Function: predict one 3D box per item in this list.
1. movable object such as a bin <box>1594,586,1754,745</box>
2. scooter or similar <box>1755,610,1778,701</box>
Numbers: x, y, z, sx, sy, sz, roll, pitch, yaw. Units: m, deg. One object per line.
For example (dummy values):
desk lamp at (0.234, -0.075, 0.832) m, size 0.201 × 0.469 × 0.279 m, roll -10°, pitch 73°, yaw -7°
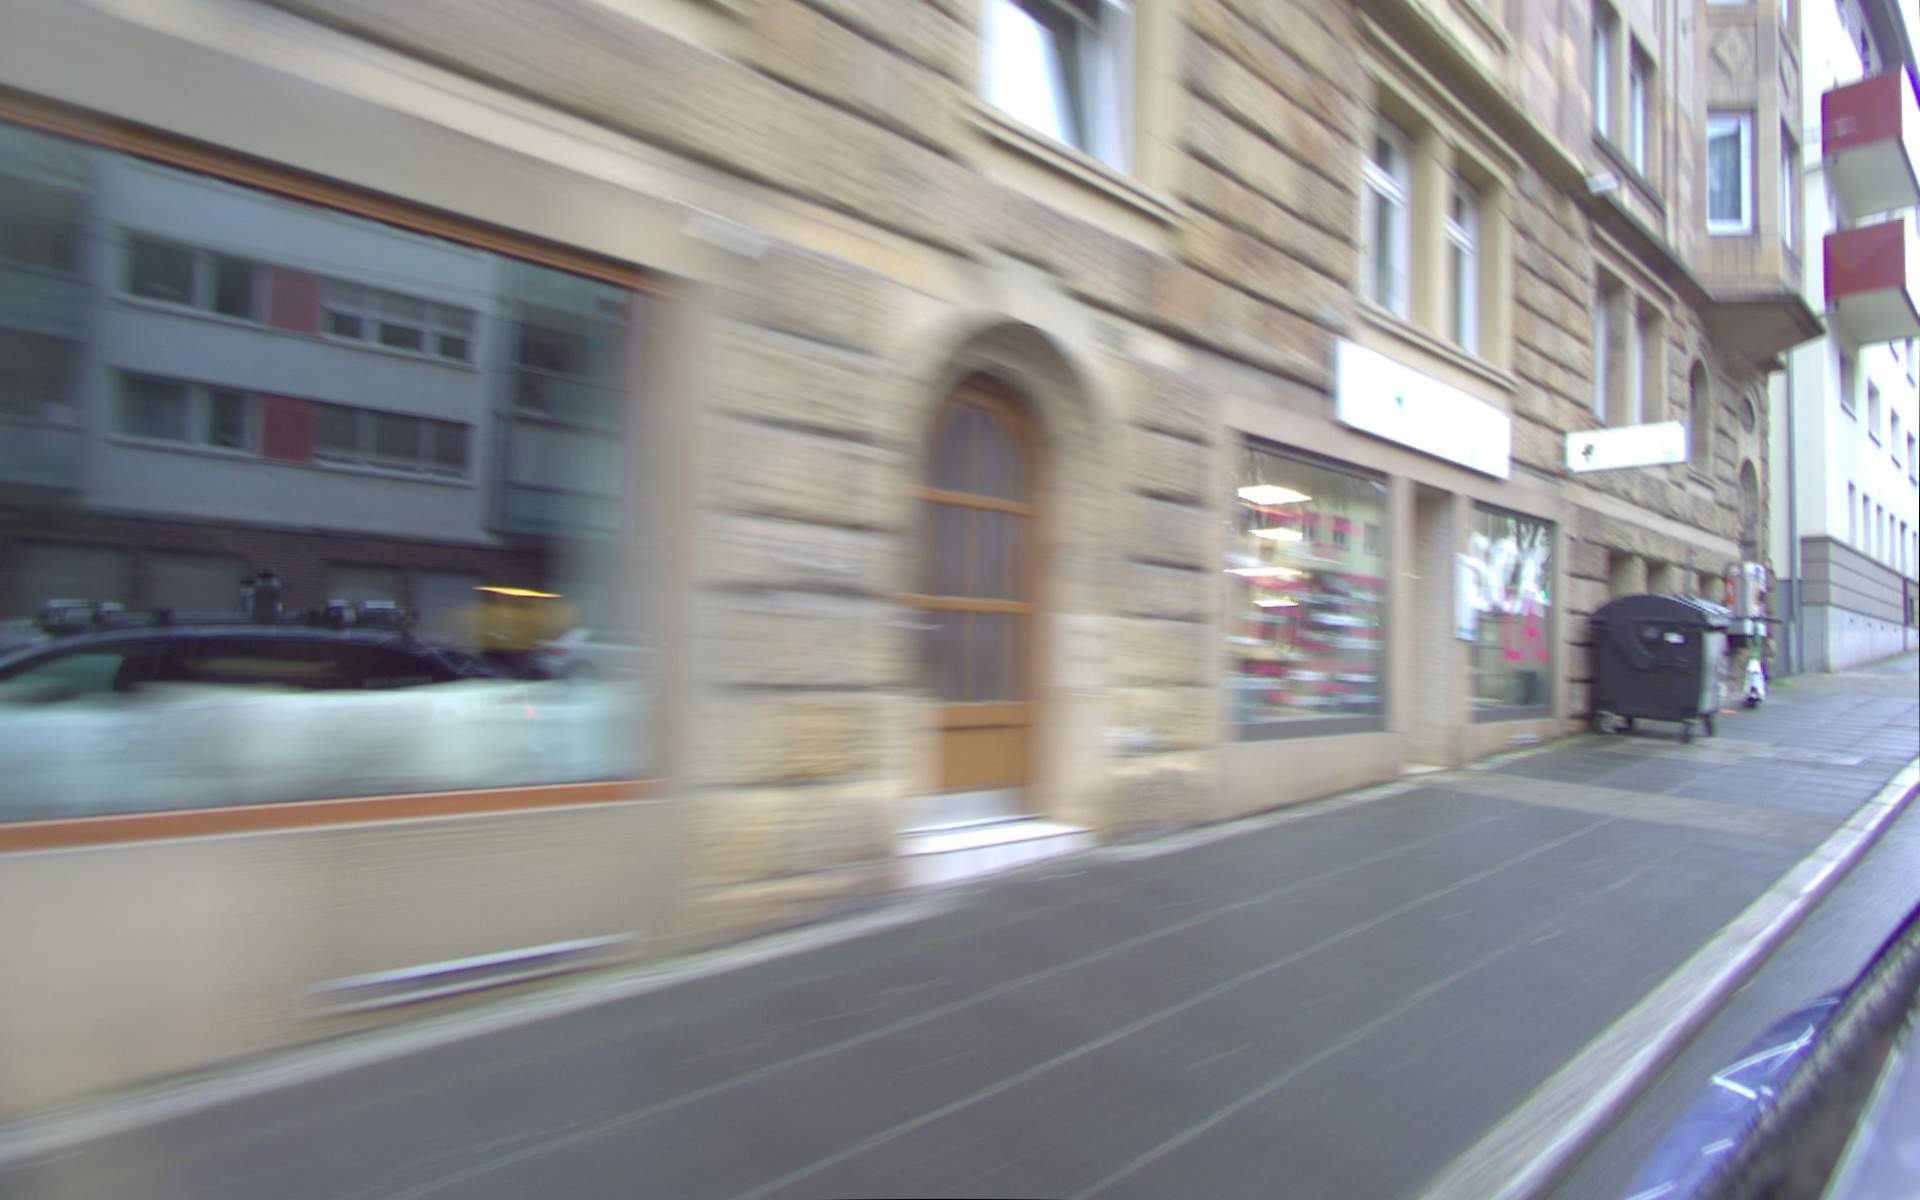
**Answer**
movable object such as a bin at (7.326, 0.614, 10.378) m, size 1.369 × 1.469 × 1.011 m, roll 0°, pitch 2°, yaw -41°
scooter or similar at (10.678, 0.715, 13.401) m, size 0.209 × 1.125 × 0.879 m, roll 2°, pitch 2°, yaw 39°
